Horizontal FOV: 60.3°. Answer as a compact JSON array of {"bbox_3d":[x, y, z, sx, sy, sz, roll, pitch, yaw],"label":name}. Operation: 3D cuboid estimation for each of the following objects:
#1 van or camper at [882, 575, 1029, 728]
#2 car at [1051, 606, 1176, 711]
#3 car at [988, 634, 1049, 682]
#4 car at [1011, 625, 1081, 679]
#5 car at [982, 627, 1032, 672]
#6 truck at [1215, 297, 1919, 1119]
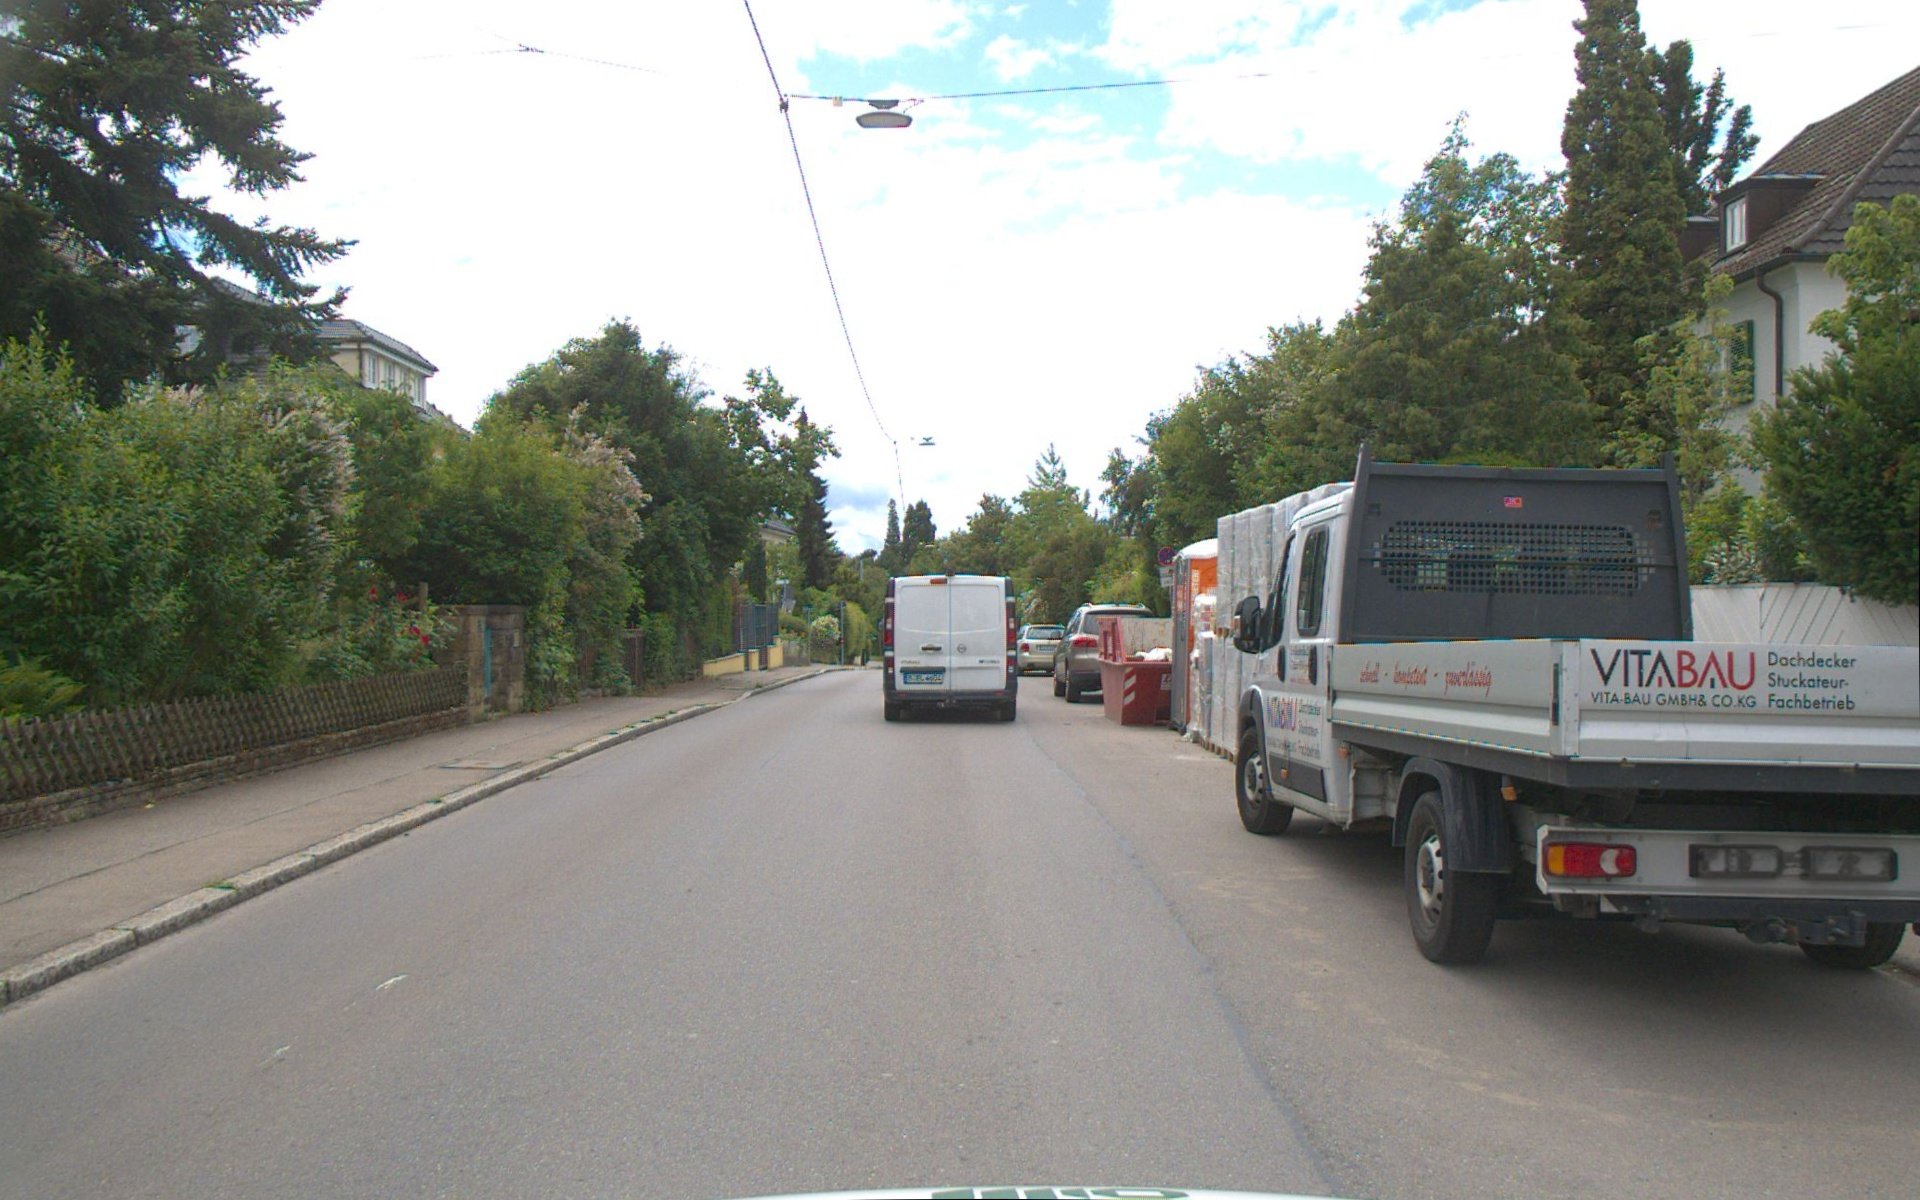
[{"bbox_3d":[-0.114,0.724,24.013,1.900,1.988,4.763,0,-1,-1],"label":"van or camper"},{"bbox_3d":[2.677,0.998,29.615,1.709,1.704,4.183,-1,-1,-2],"label":"car"},{"bbox_3d":[1.898,1.887,54.727,1.709,1.472,4.257,-1,-1,-2],"label":"car"},{"bbox_3d":[2.464,1.477,48.306,1.709,1.472,4.257,-1,-1,-2],"label":"car"},{"bbox_3d":[1.833,1.909,65.066,1.709,1.658,4.257,-1,-1,-2],"label":"car"},{"bbox_3d":[3.066,0.349,8.811,2.143,2.515,7.429,1,0,-1],"label":"truck"}]
